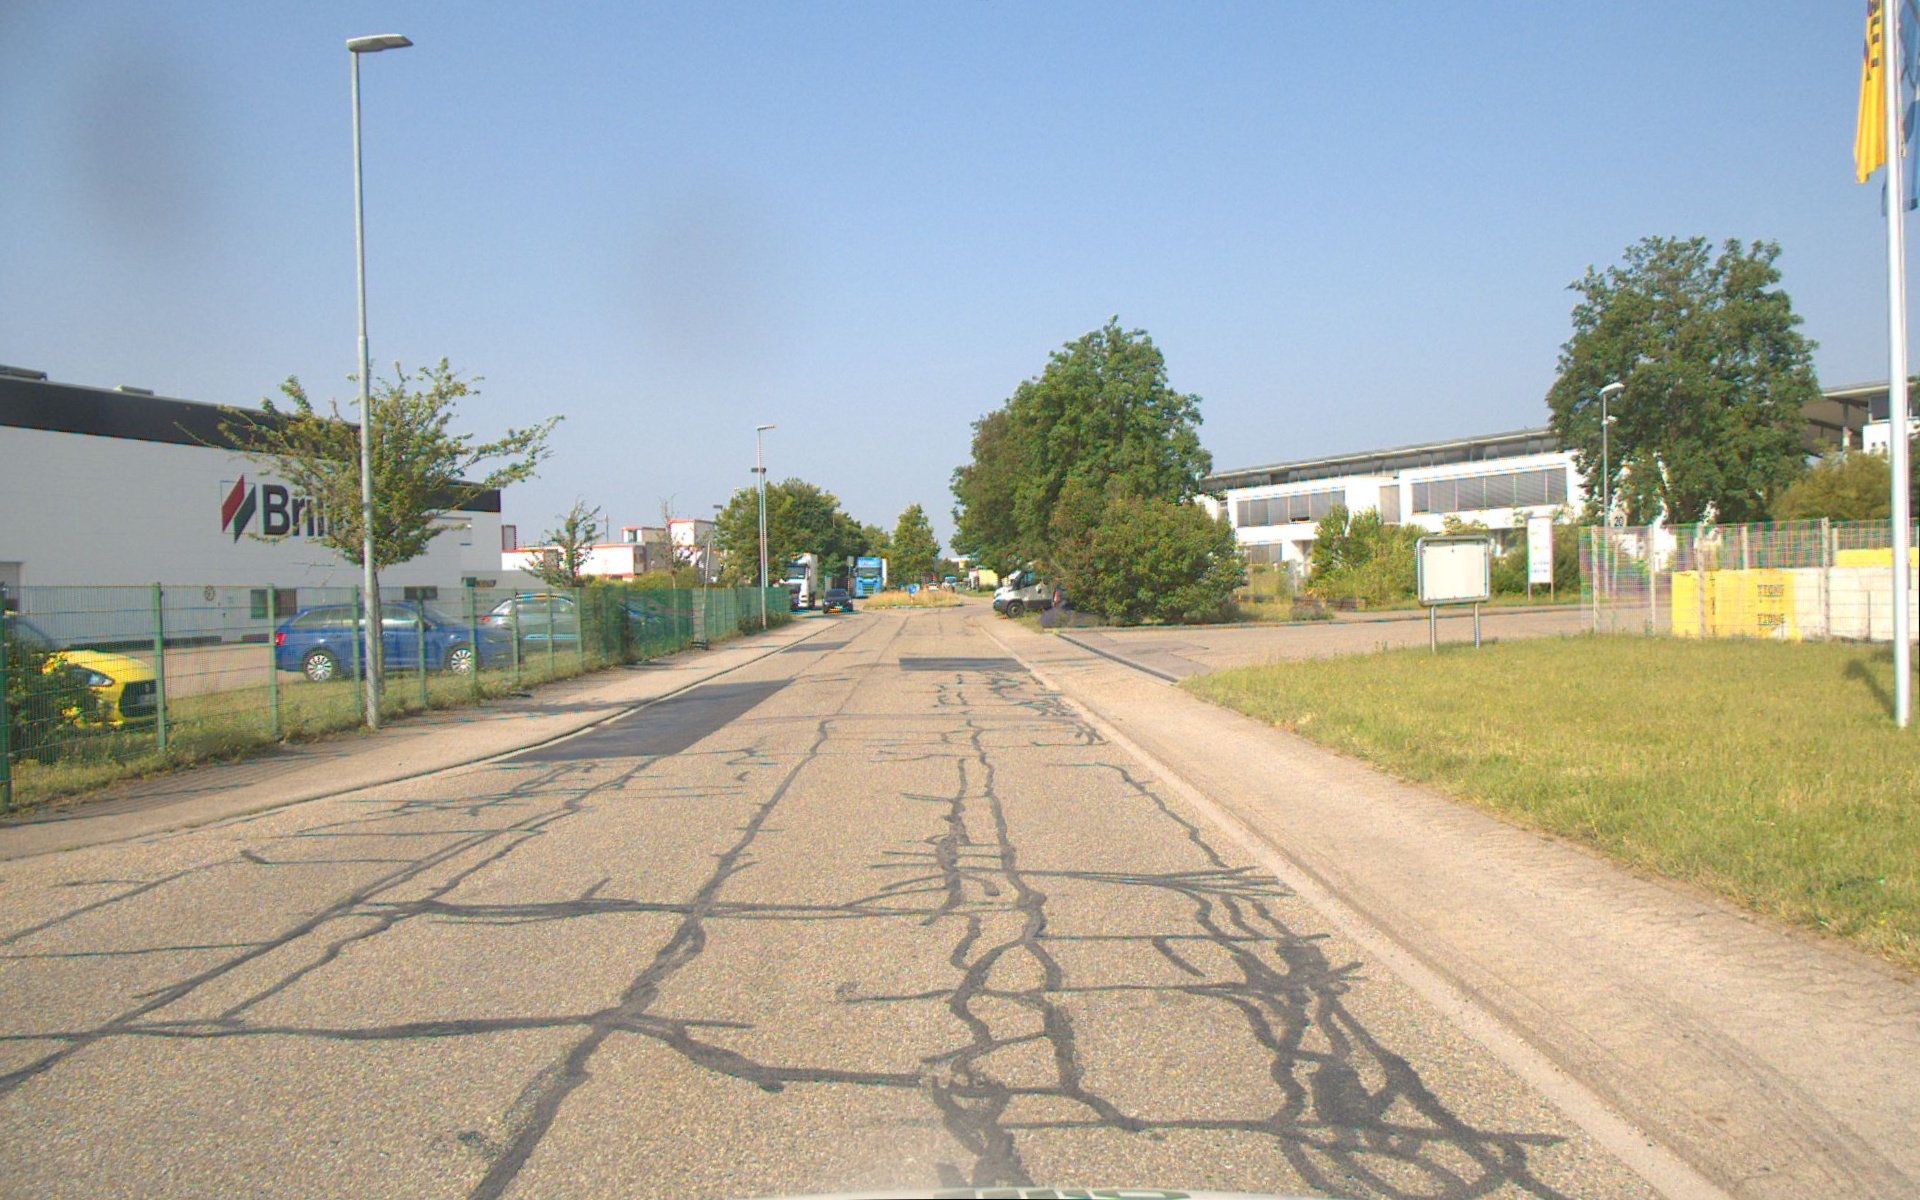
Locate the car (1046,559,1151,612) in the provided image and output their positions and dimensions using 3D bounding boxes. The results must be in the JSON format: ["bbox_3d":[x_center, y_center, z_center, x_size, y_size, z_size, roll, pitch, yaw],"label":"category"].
[{"bbox_3d":[5.396,-0.579,64.710,3.905,1.870,2.000,-2,1,0],"label":"car"}]

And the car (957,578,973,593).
[{"bbox_3d":[0.607,-1.759,199.896,1.756,1.780,3.998,0,0,-2],"label":"car"}]

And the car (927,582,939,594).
[{"bbox_3d":[-4.030,-1.818,247.252,1.684,1.690,3.821,0,0,-3],"label":"car"}]

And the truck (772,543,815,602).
[{"bbox_3d":[-11.537,-1.847,114.583,2.654,3.990,4.295,0,0,-2],"label":"truck"}]

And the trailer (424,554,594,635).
[{"bbox_3d":[-24.428,-0.244,90.726,2.429,4.112,13.899,0,0,14],"label":"trailer"}]

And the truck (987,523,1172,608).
[{"bbox_3d":[5.384,-1.559,75.347,8.044,3.429,2.740,-3,0,-2],"label":"truck"}]

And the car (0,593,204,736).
[{"bbox_3d":[-10.582,0.710,17.678,4.079,1.392,1.868,-2,1,-1],"label":"car"}]

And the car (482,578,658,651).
[{"bbox_3d":[-10.055,0.351,42.882,4.045,1.594,1.864,-4,1,-2],"label":"car"}]

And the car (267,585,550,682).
[{"bbox_3d":[-10.345,0.604,31.310,4.592,1.469,2.077,-4,1,-2],"label":"car"}]

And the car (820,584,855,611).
[{"bbox_3d":[-7.558,-0.155,102.173,1.954,1.474,4.417,-4,1,-3],"label":"car"}]

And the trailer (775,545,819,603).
[{"bbox_3d":[-11.655,-1.815,118.880,2.645,3.990,7.572,0,0,-2],"label":"trailer"}]

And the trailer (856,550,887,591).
[{"bbox_3d":[-9.025,-2.981,168.961,2.774,3.910,12.032,0,0,-1],"label":"trailer"}]

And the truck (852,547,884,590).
[{"bbox_3d":[-8.824,-2.961,158.983,2.768,3.892,9.670,0,0,-1],"label":"truck"}]
